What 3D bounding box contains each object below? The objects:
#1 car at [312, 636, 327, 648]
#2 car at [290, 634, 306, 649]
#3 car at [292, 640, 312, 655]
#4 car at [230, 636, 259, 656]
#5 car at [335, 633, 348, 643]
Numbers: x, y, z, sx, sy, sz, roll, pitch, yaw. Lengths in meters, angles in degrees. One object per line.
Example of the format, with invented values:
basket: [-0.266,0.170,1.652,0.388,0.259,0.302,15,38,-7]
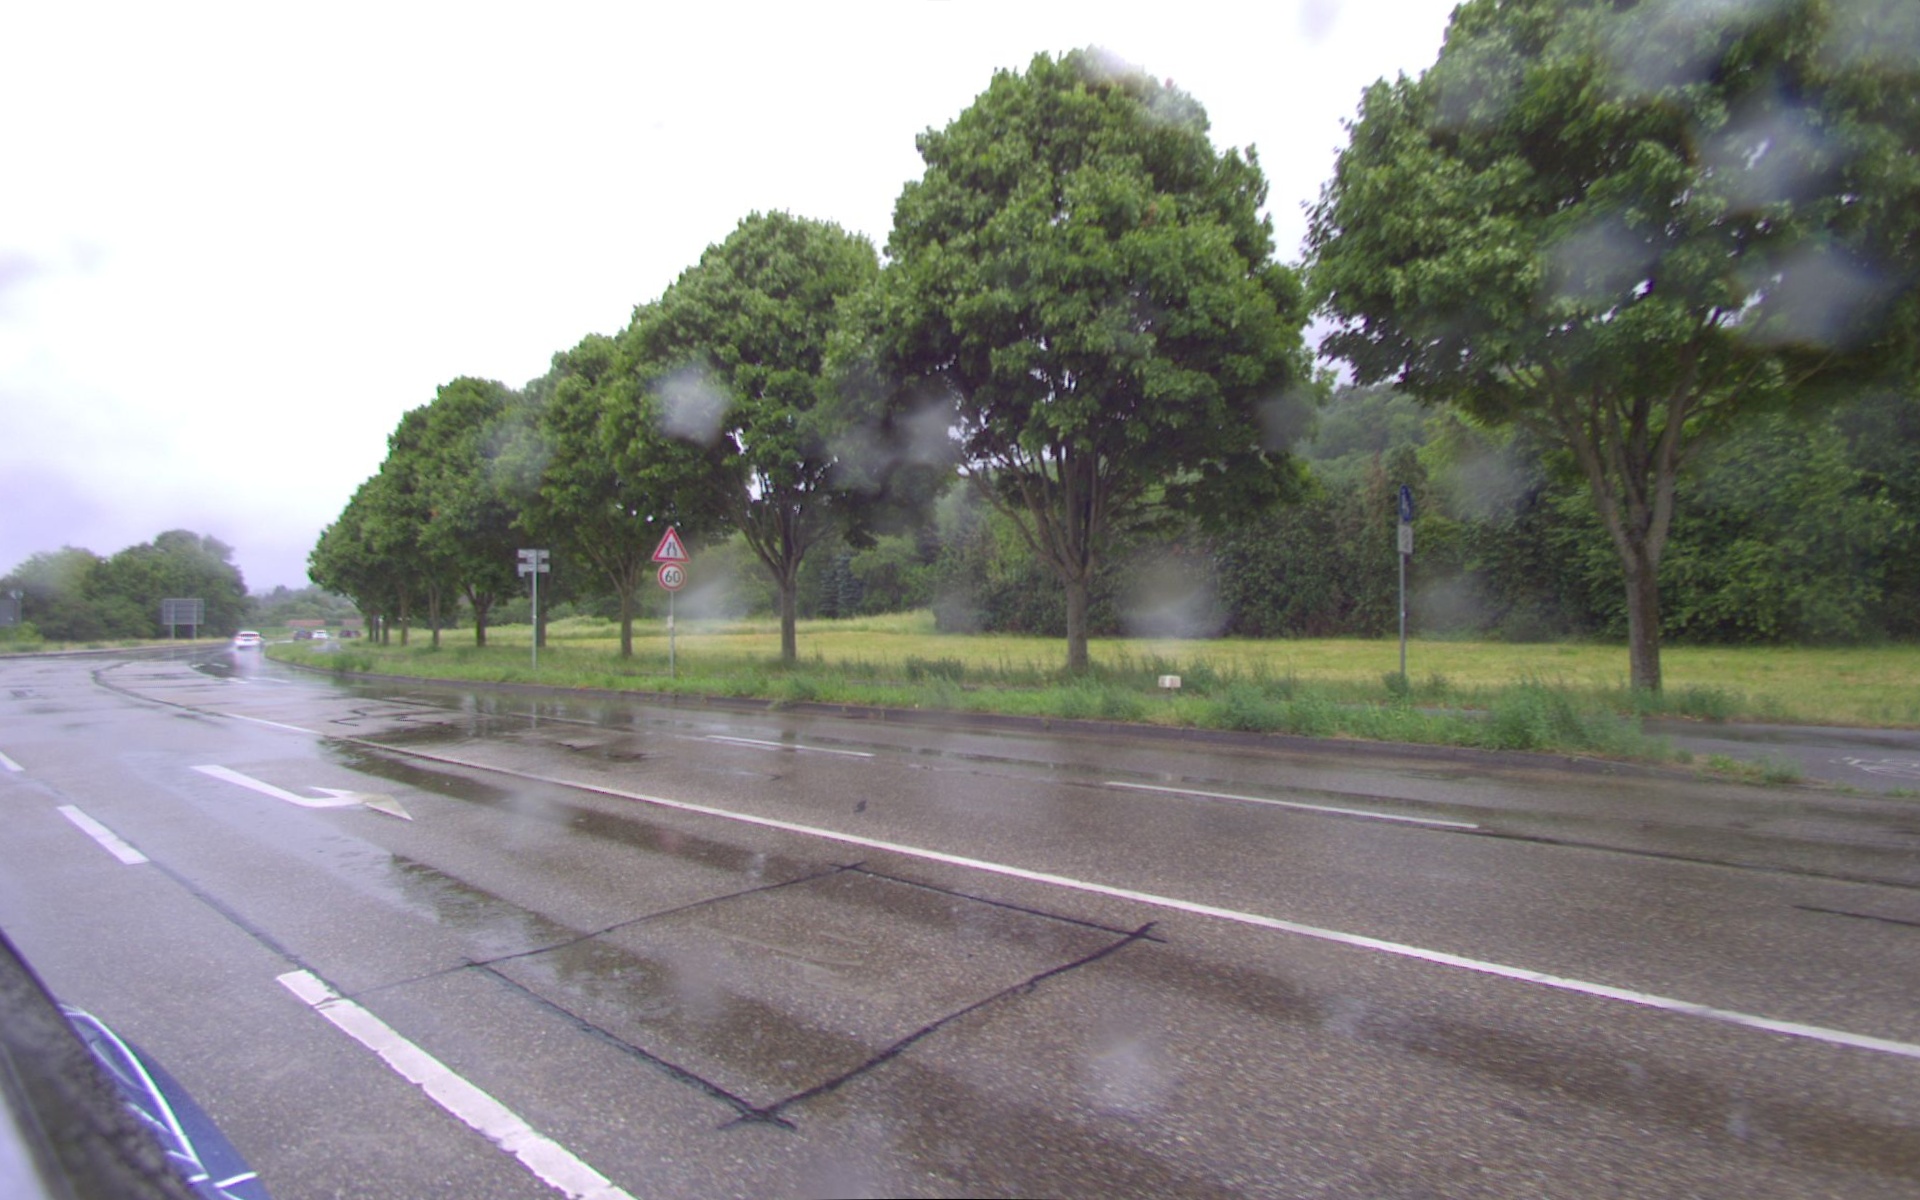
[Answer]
car: [-87.139,5.711,137.664,1.715,1.498,4.022,2,-2,-32]
car: [-92.875,5.820,141.916,1.715,2.006,4.022,2,-2,-31]
car: [-80.473,5.809,123.881,1.858,1.599,4.131,-2,0,-31]
car: [-59.646,3.855,84.380,1.854,1.585,4.655,2,-3,-36]
car: [-112.340,6.915,183.729,1.897,1.756,4.301,2,-2,-32]
